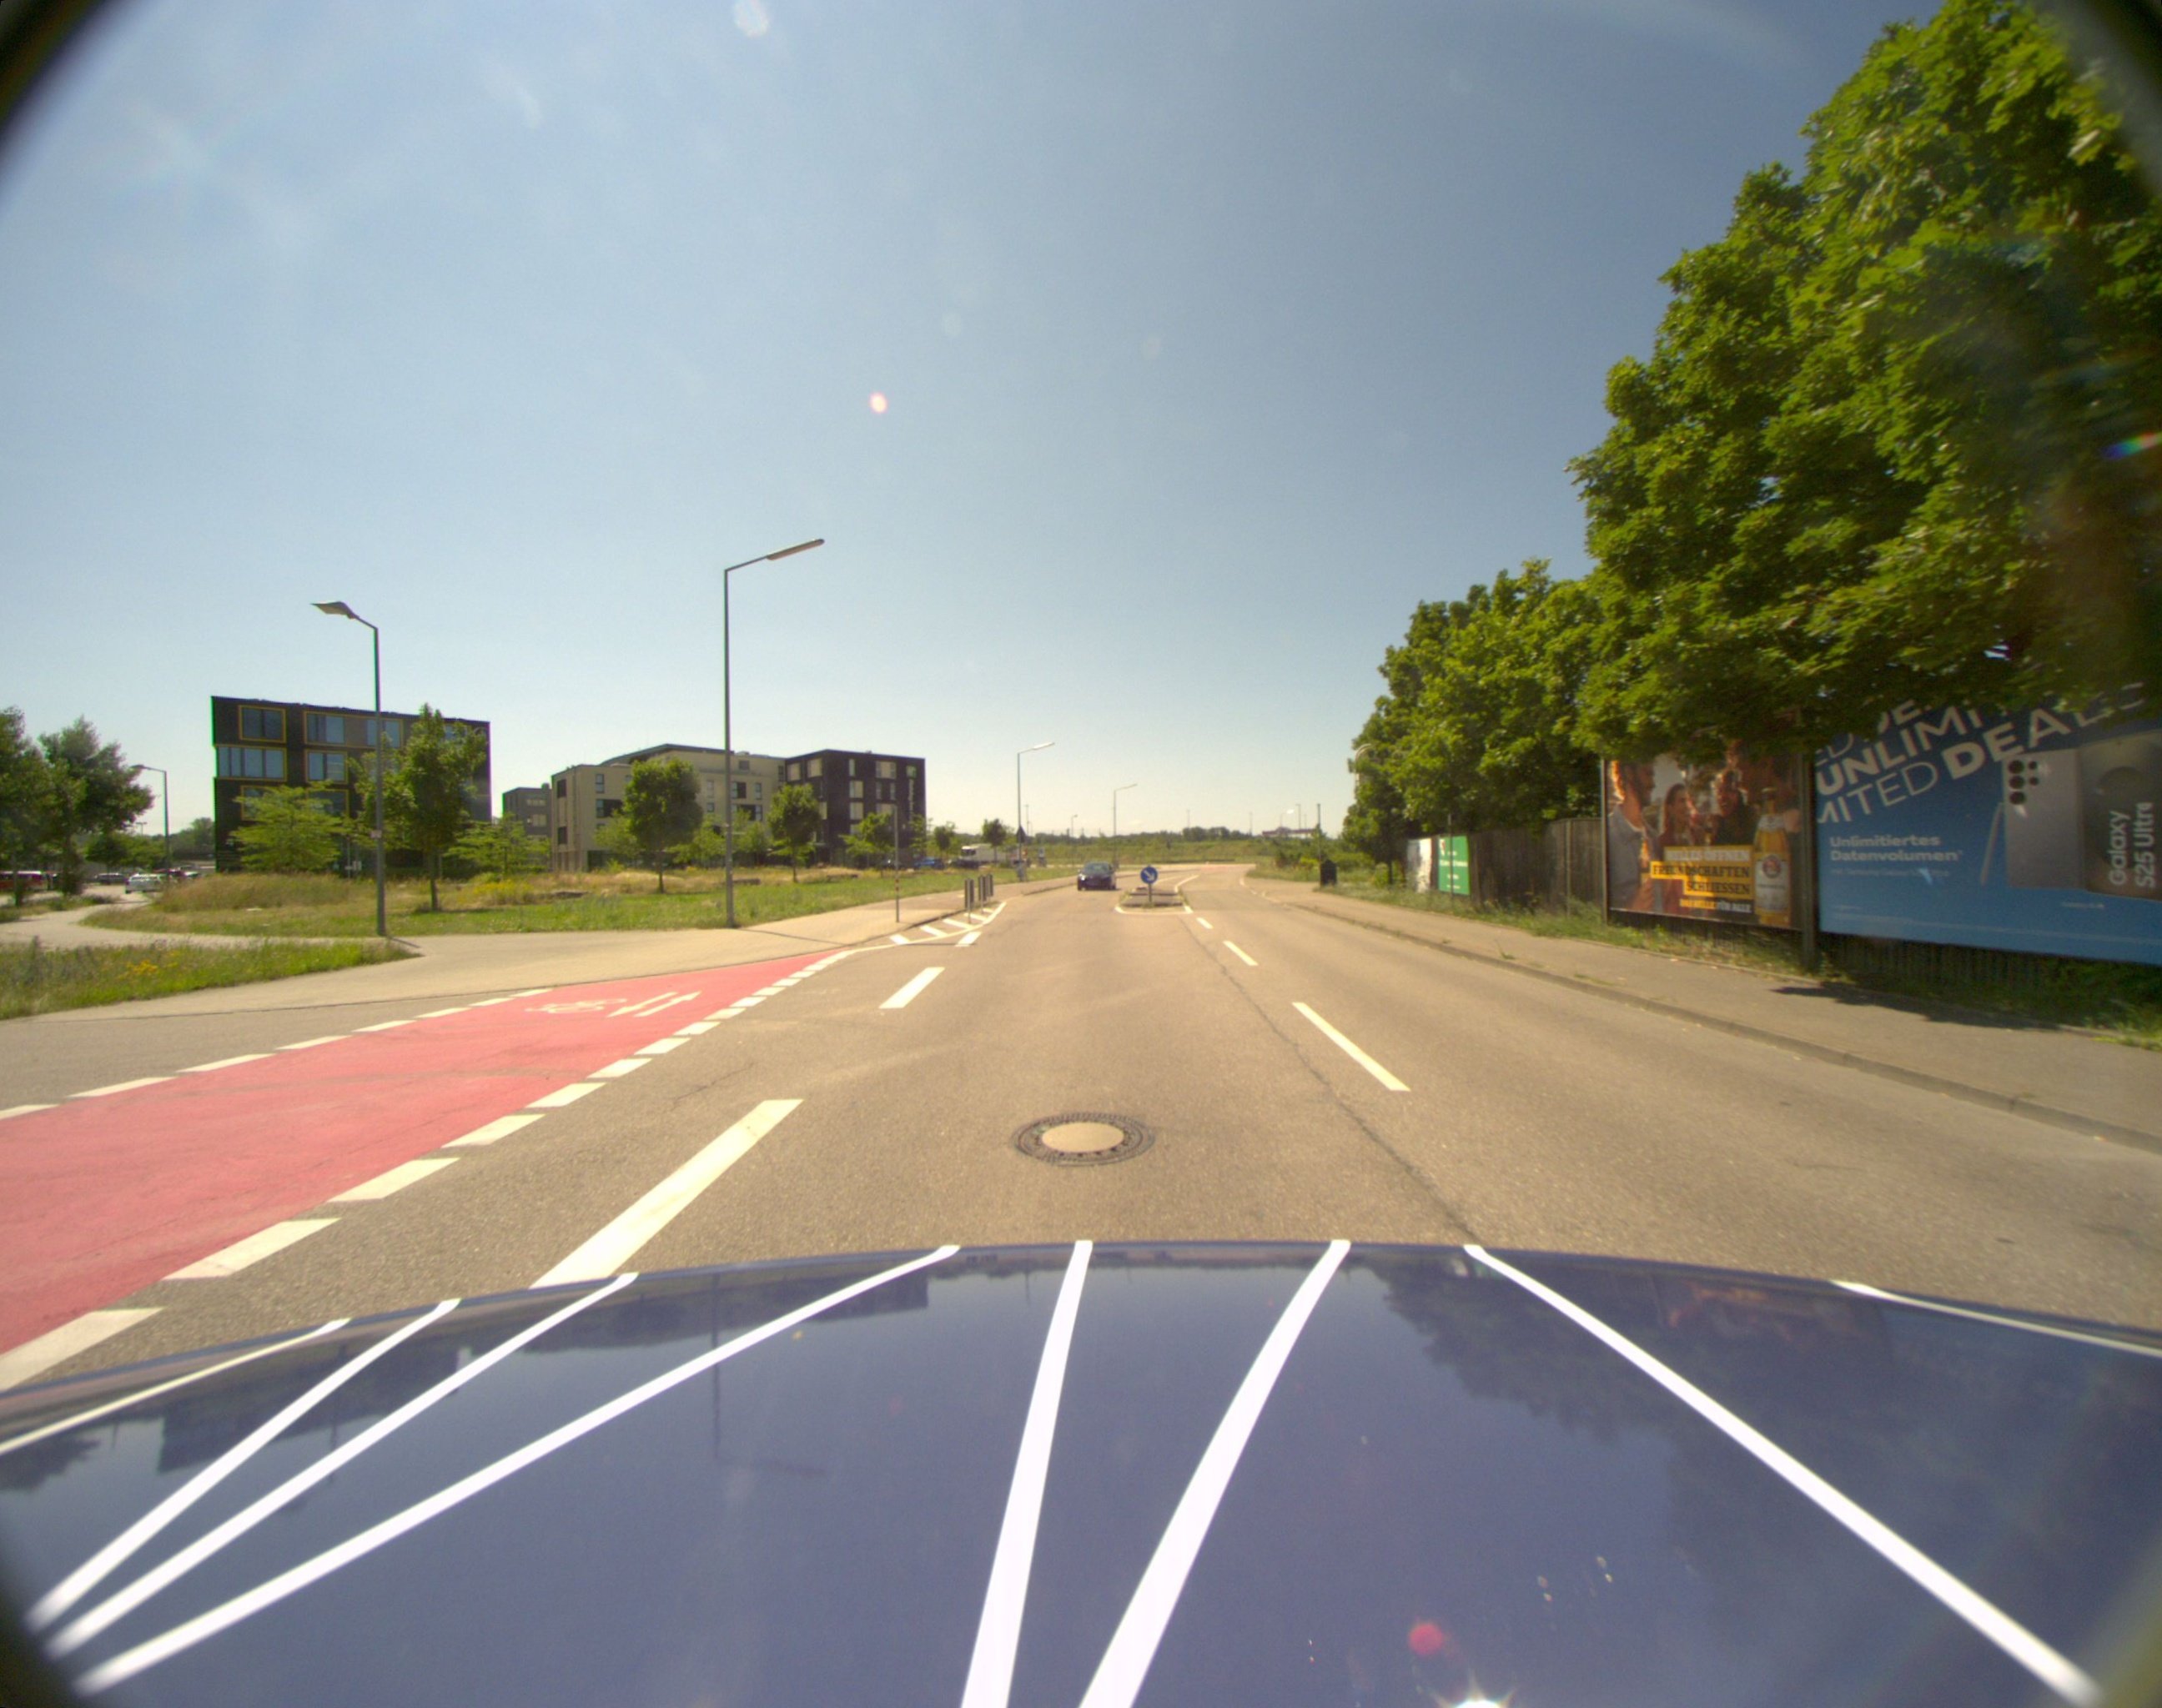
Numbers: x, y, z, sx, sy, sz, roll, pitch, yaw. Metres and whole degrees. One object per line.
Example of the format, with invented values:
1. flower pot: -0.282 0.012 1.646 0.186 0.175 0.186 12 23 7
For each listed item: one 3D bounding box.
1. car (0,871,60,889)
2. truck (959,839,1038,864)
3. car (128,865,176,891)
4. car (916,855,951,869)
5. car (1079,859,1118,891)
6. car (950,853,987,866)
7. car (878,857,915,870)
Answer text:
1. car: -97.710 2.407 69.805 1.798 1.501 4.534 0 1 42
2. truck: -11.794 -0.378 110.453 12.164 3.442 3.009 -1 2 -44
3. car: -74.429 1.957 60.911 1.964 1.917 3.483 -3 0 -44
4. car: -17.373 0.960 89.479 4.059 1.642 1.959 0 1 44
5. car: 0.951 1.032 38.559 1.653 1.458 4.161 -1 0 6
6. car: -13.749 0.706 92.439 4.495 1.553 2.036 -1 1 43
7. car: -20.882 1.095 85.921 4.114 1.436 1.966 0 1 38
